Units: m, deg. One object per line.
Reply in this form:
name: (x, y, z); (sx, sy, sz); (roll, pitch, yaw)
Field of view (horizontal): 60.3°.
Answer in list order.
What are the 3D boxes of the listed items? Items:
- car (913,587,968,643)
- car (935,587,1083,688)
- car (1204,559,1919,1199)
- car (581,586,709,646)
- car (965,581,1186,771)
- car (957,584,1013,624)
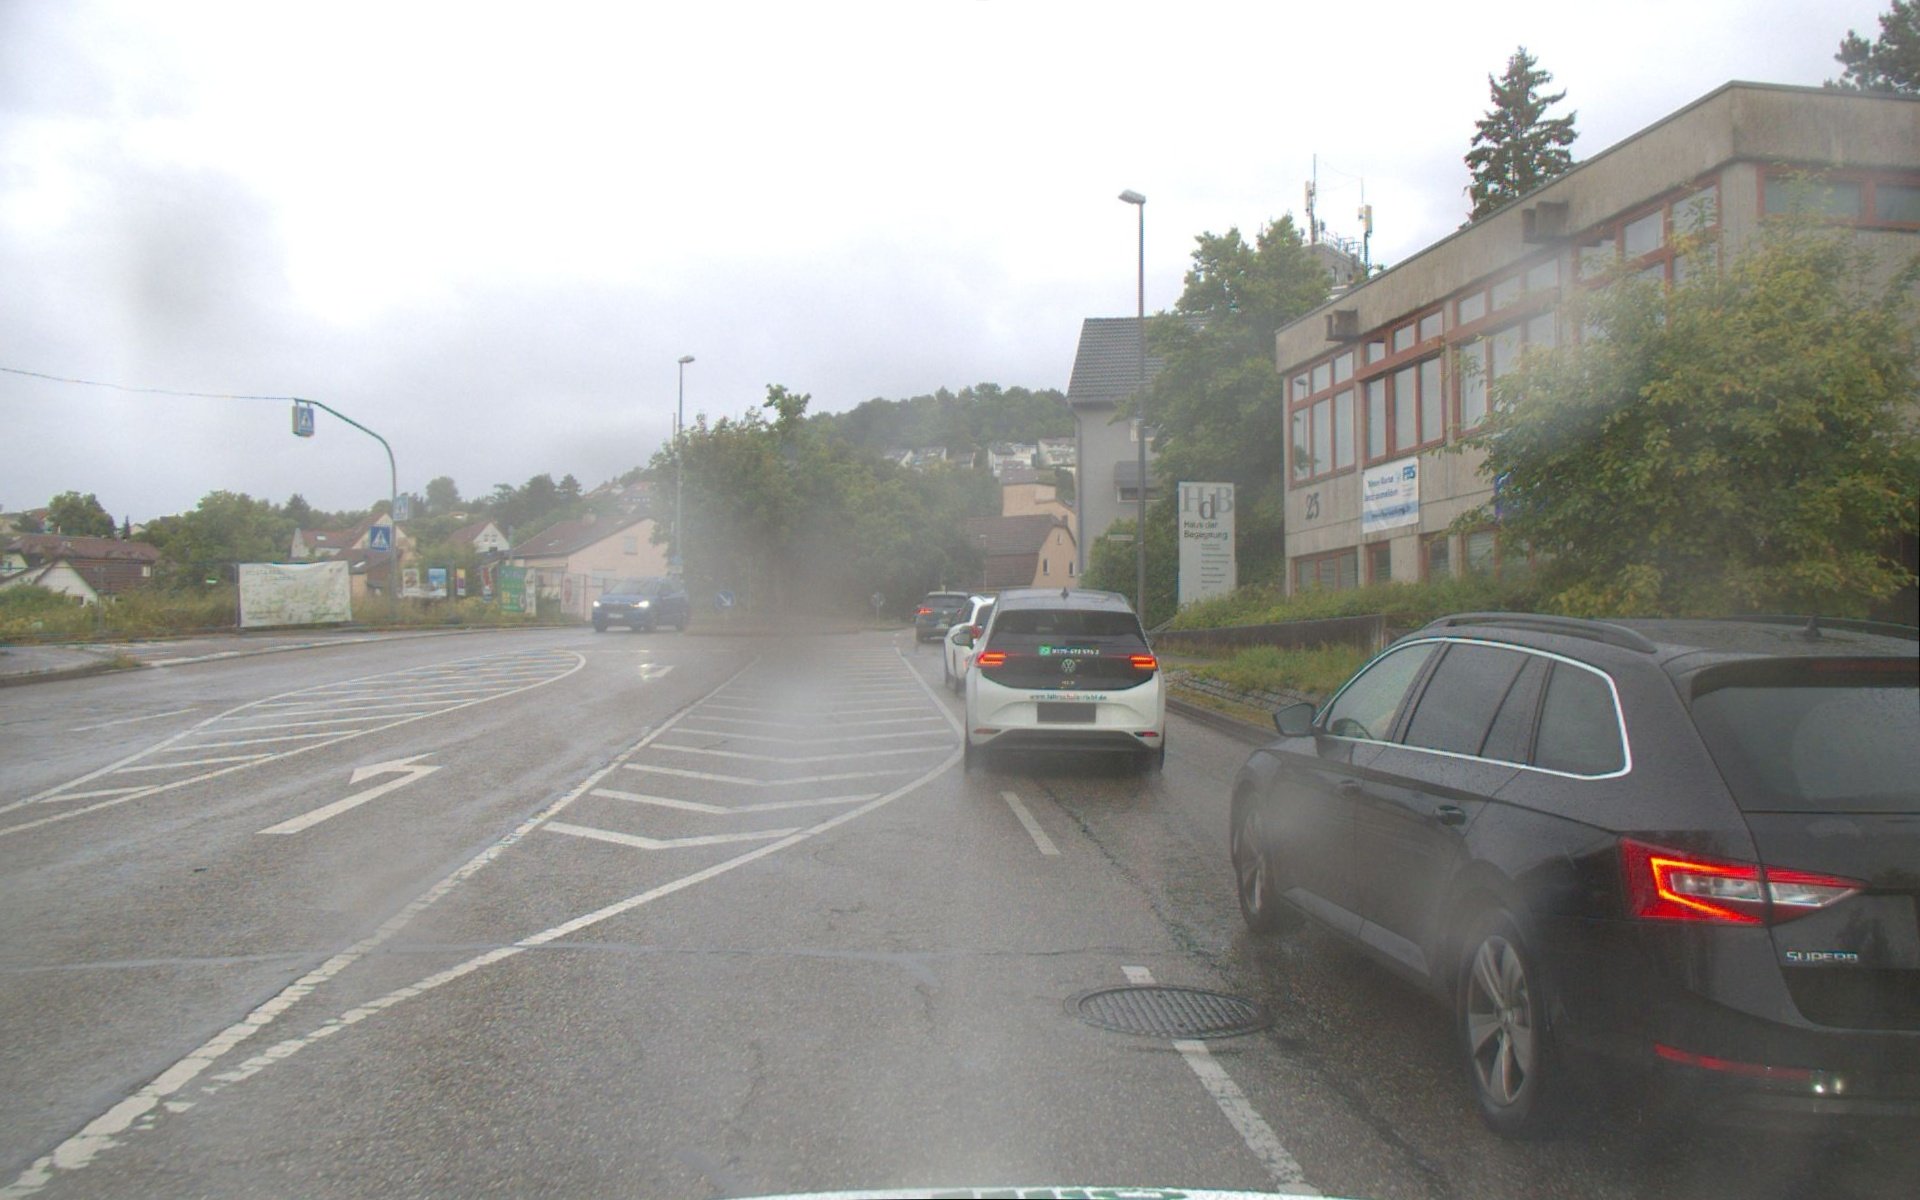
car: (-0.578, 0.408, 48.315); (1.535, 1.557, 3.999); (0, 0, -1)
car: (0.677, 0.567, 25.899); (1.812, 1.434, 4.296); (1, -1, -5)
car: (2.347, 0.740, 5.916); (1.916, 1.534, 4.604); (3, -1, -4)
car: (-9.597, 0.522, 50.828); (1.951, 1.723, 4.708); (1, -1, 16)
car: (0.955, 0.645, 15.552); (1.791, 1.526, 4.168); (1, -1, 0)
car: (1.029, 0.172, 65.327); (1.952, 1.478, 3.772); (-2, -1, 4)
